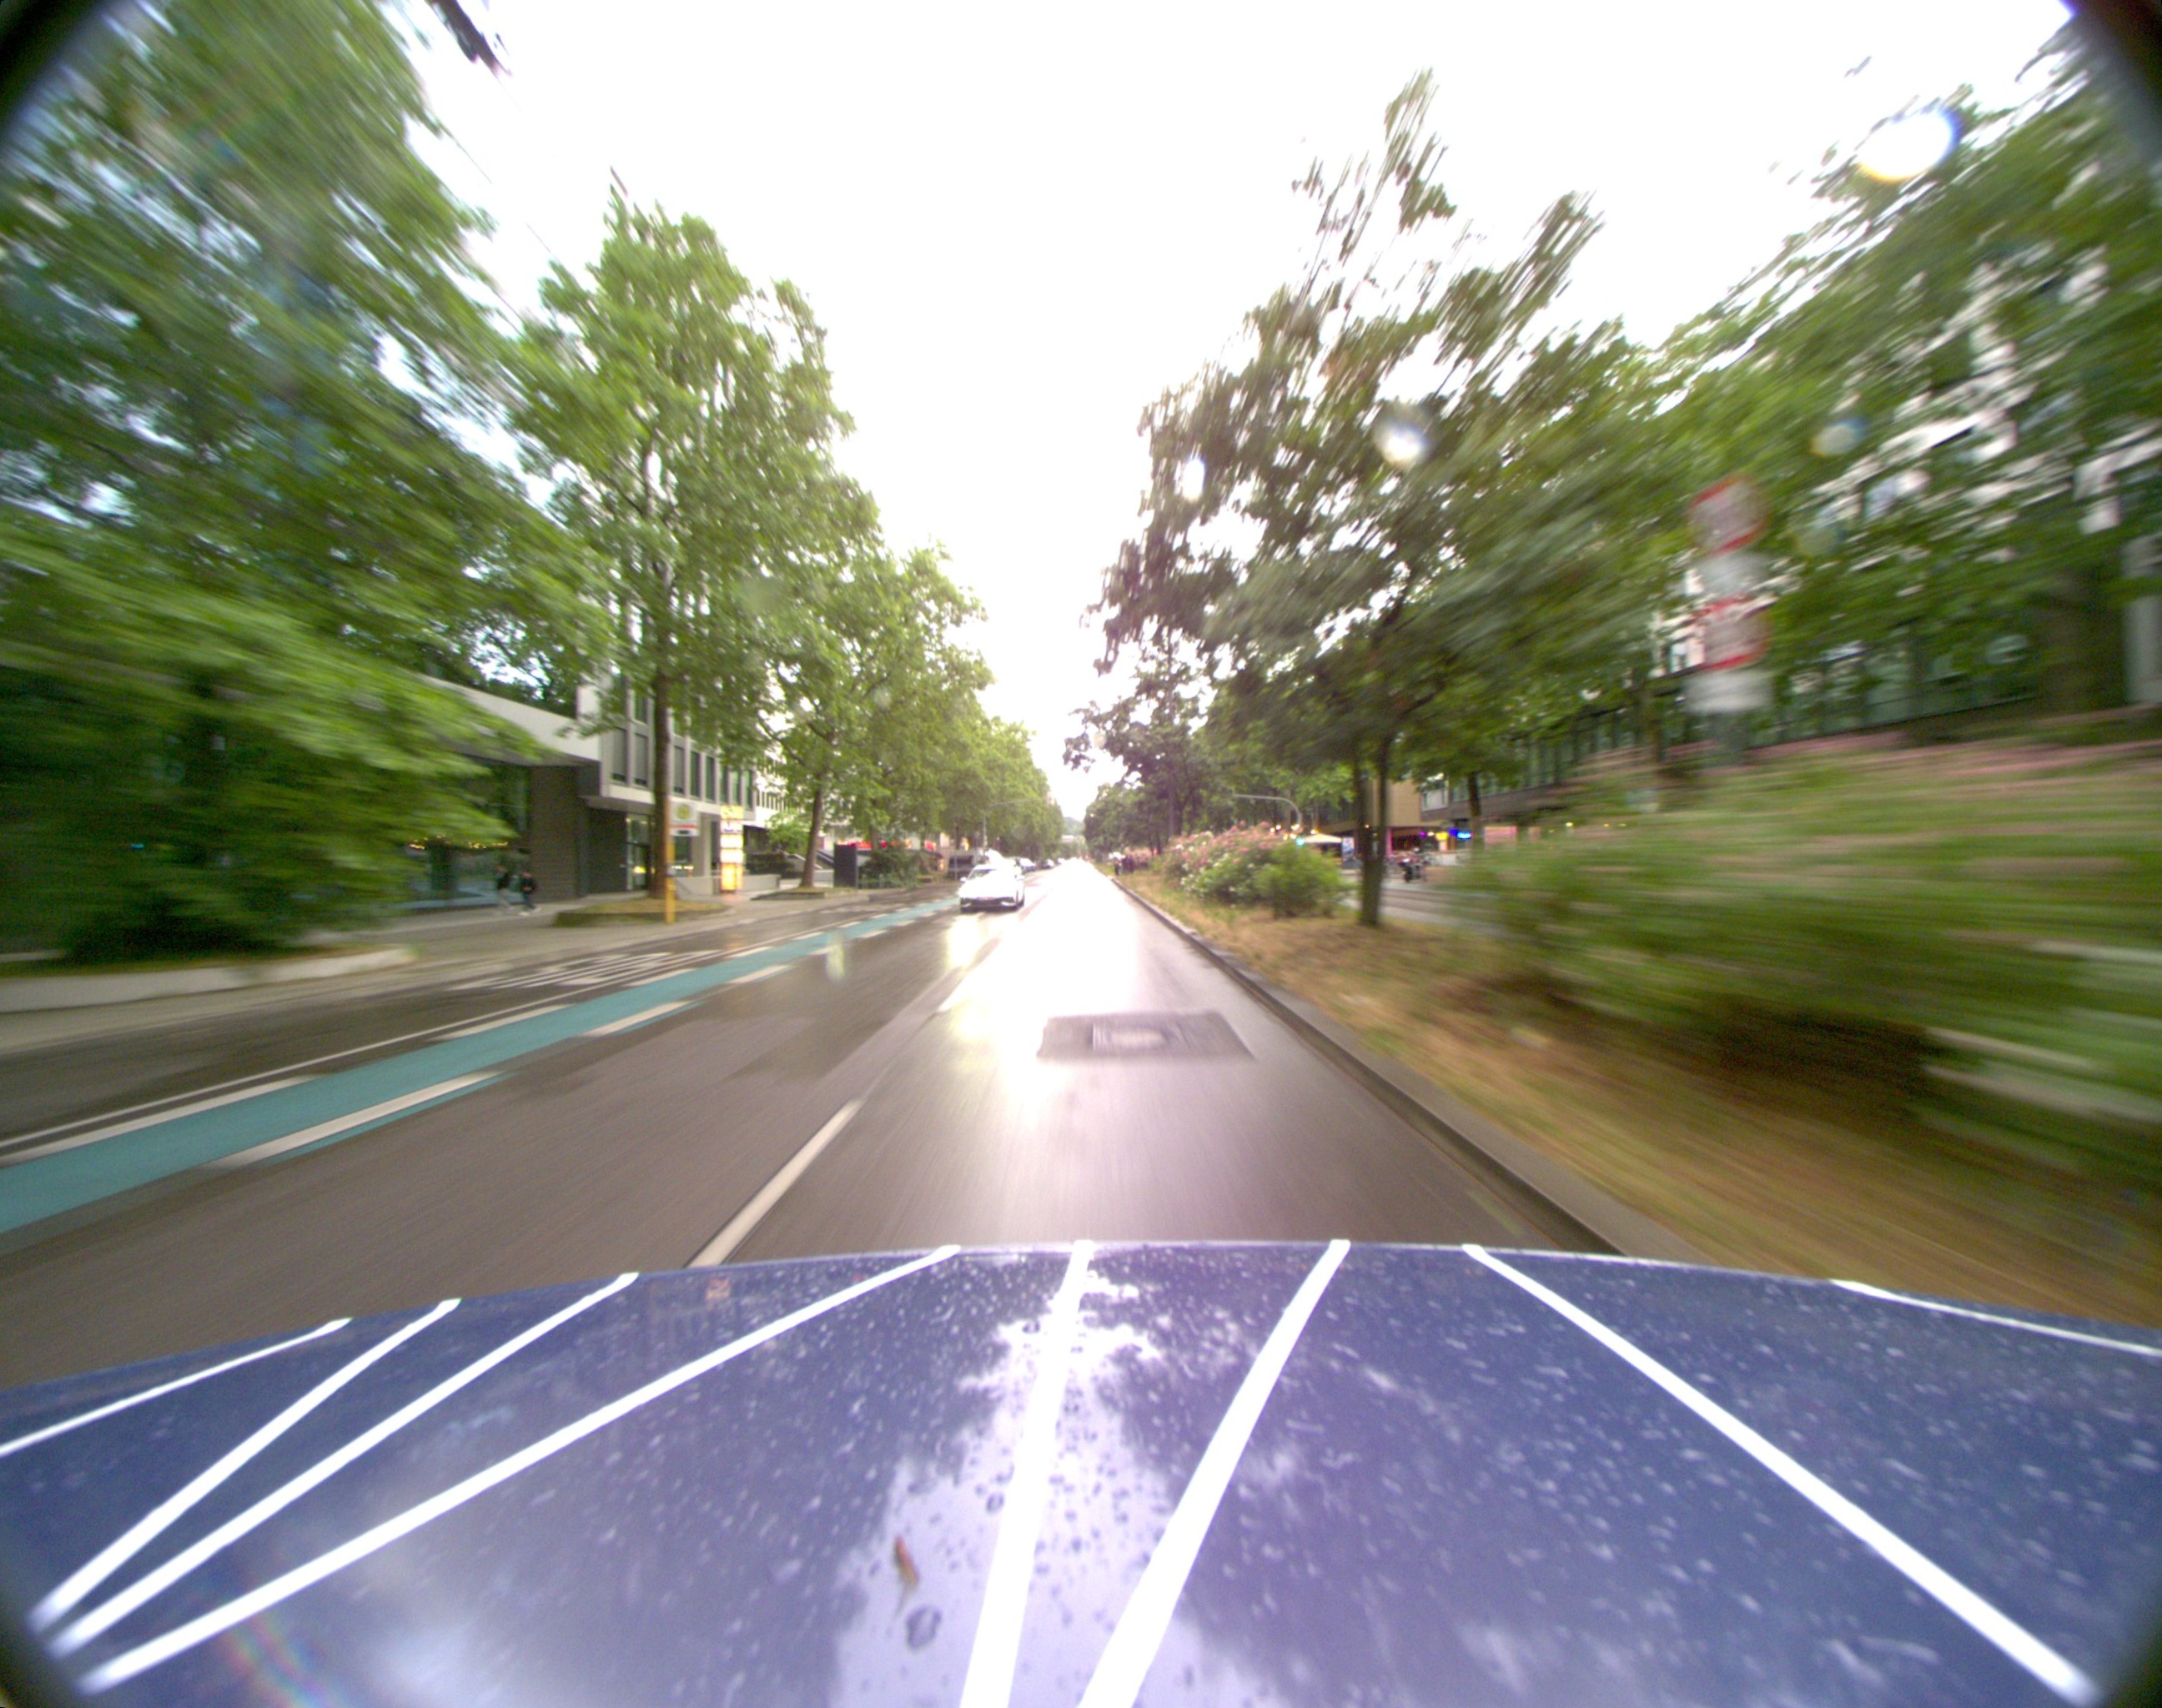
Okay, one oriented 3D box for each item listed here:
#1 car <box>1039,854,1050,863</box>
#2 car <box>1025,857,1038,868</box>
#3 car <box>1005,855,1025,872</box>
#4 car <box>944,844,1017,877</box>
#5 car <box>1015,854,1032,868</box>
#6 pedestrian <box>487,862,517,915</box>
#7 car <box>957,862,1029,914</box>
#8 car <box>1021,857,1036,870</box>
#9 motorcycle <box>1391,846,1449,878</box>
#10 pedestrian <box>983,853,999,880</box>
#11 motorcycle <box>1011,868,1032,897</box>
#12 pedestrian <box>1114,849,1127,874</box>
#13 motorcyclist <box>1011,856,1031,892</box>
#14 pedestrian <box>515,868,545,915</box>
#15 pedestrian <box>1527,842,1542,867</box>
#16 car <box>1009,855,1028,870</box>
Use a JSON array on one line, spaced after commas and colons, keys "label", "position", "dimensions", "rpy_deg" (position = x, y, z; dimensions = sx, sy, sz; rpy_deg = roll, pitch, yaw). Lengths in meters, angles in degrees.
[{"label": "car", "position": [-6.241, 0.799, 130.479], "dimensions": [1.598, 1.516, 3.425], "rpy_deg": [-1, 0, 0]}, {"label": "car", "position": [-6.915, 1.141, 105.928], "dimensions": [1.598, 1.516, 3.425], "rpy_deg": [-1, 0, 0]}, {"label": "car", "position": [-6.526, 0.914, 74.911], "dimensions": [1.598, 1.516, 3.425], "rpy_deg": [-1, 0, 0]}, {"label": "car", "position": [-8.621, 0.574, 64.931], "dimensions": [6.267, 2.665, 2.326], "rpy_deg": [-1, 1, 36]}, {"label": "car", "position": [-6.676, 0.835, 88.577], "dimensions": [1.598, 1.516, 3.425], "rpy_deg": [-1, 0, 0]}, {"label": "pedestrian", "position": [-20.587, 1.207, 27.033], "dimensions": [0.524, 1.848, 0.704], "rpy_deg": [1, 2, 0]}, {"label": "car", "position": [-2.792, 1.063, 24.889], "dimensions": [1.795, 1.463, 3.793], "rpy_deg": [-2, 0, 1]}, {"label": "car", "position": [-6.728, 1.189, 97.886], "dimensions": [1.598, 1.516, 3.425], "rpy_deg": [-1, 0, 0]}, {"label": "motorcycle", "position": [16.217, 0.376, 36.334], "dimensions": [2.523, 1.381, 0.899], "rpy_deg": [-4, 1, -17]}, {"label": "pedestrian", "position": [-6.367, 0.861, 53.745], "dimensions": [0.891, 1.839, 0.721], "rpy_deg": [-2, 1, 7]}, {"label": "motorcycle", "position": [-2.703, 1.275, 34.637], "dimensions": [0.744, 1.194, 2.235], "rpy_deg": [-2, 1, 0]}, {"label": "pedestrian", "position": [3.025, 0.572, 58.288], "dimensions": [0.892, 1.839, 0.787], "rpy_deg": [-2, 1, -6]}, {"label": "motorcyclist", "position": [-2.714, 0.915, 34.512], "dimensions": [0.744, 1.575, 1.059], "rpy_deg": [-2, 1, 0]}, {"label": "pedestrian", "position": [-19.714, 1.337, 27.196], "dimensions": [0.527, 1.616, 0.719], "rpy_deg": [1, 2, 0]}, {"label": "pedestrian", "position": [27.265, 0.025, 45.679], "dimensions": [0.568, 1.457, 0.560], "rpy_deg": [-2, 1, -4]}, {"label": "car", "position": [-6.481, 0.849, 79.109], "dimensions": [1.598, 1.516, 3.425], "rpy_deg": [-1, 0, 0]}]
